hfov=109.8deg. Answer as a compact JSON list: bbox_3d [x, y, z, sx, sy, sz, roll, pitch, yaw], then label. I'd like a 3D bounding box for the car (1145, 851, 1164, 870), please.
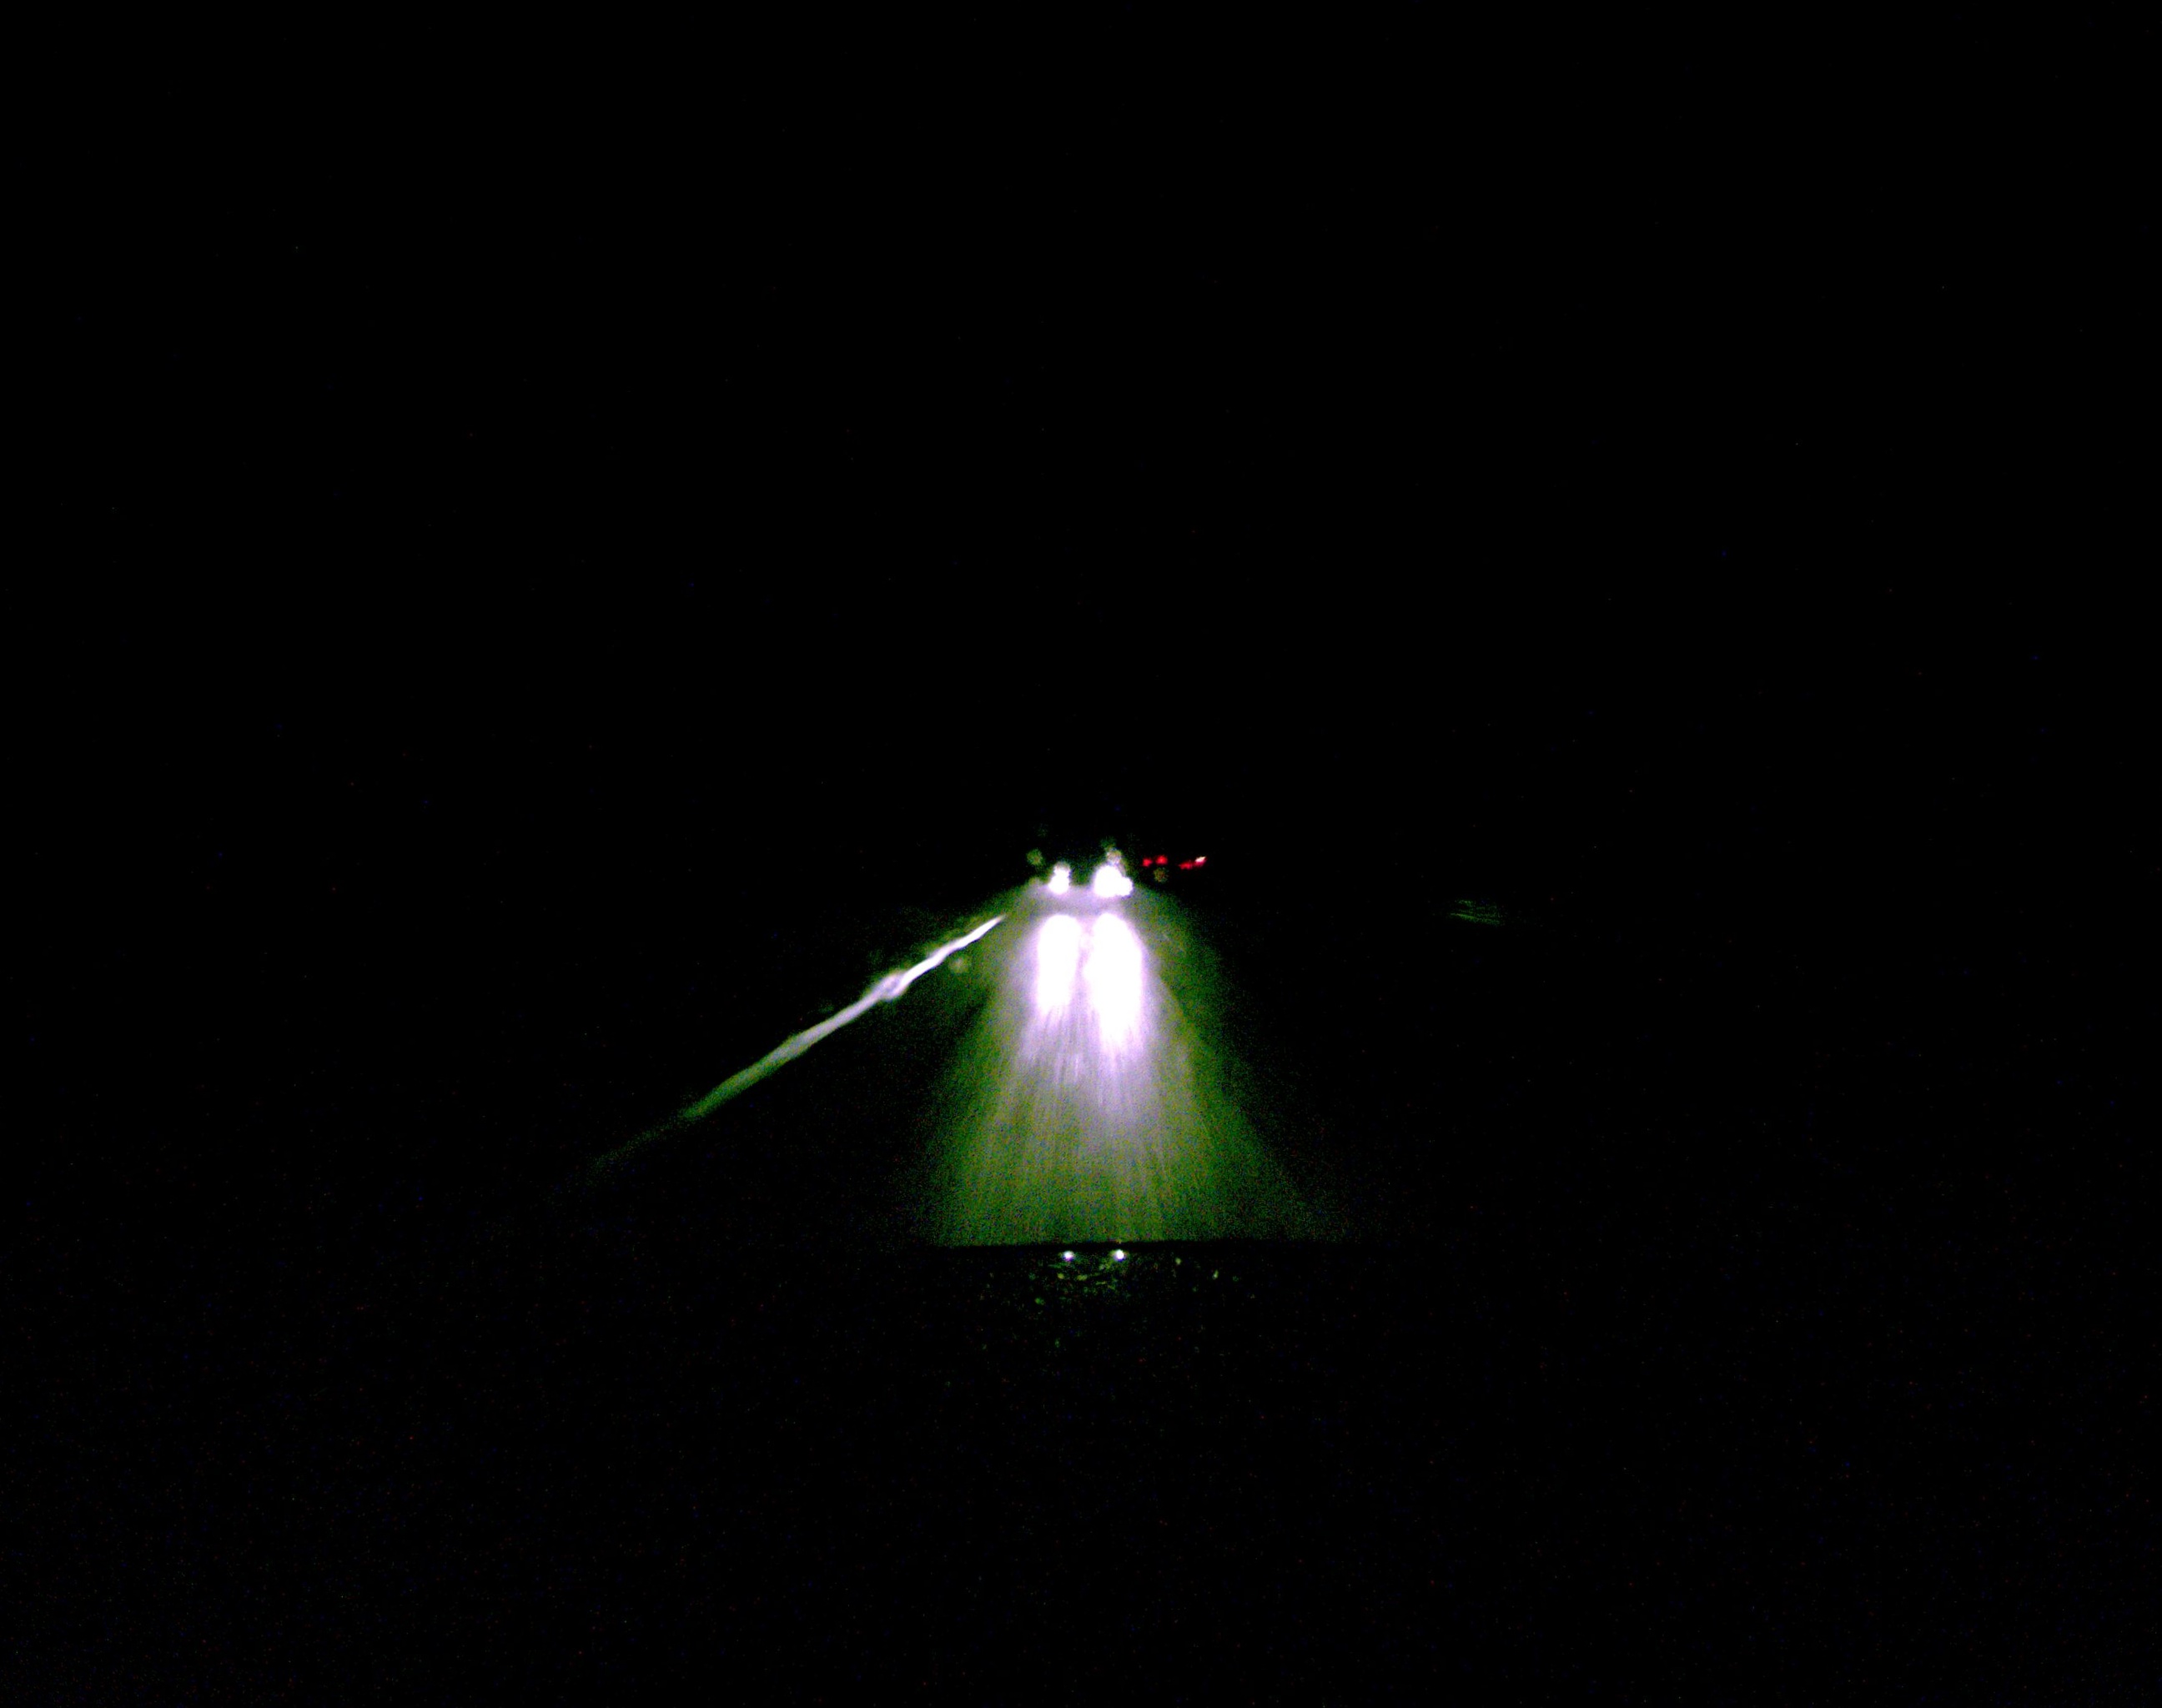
[{"bbox_3d":[8.019,0.663,83.367,1.998,2.002,4.458,0,0,4],"label":"car"}]

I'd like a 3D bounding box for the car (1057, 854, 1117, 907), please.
[{"bbox_3d":[0.243,0.809,24.604,1.744,1.501,3.600,-3,0,2],"label":"car"}]
